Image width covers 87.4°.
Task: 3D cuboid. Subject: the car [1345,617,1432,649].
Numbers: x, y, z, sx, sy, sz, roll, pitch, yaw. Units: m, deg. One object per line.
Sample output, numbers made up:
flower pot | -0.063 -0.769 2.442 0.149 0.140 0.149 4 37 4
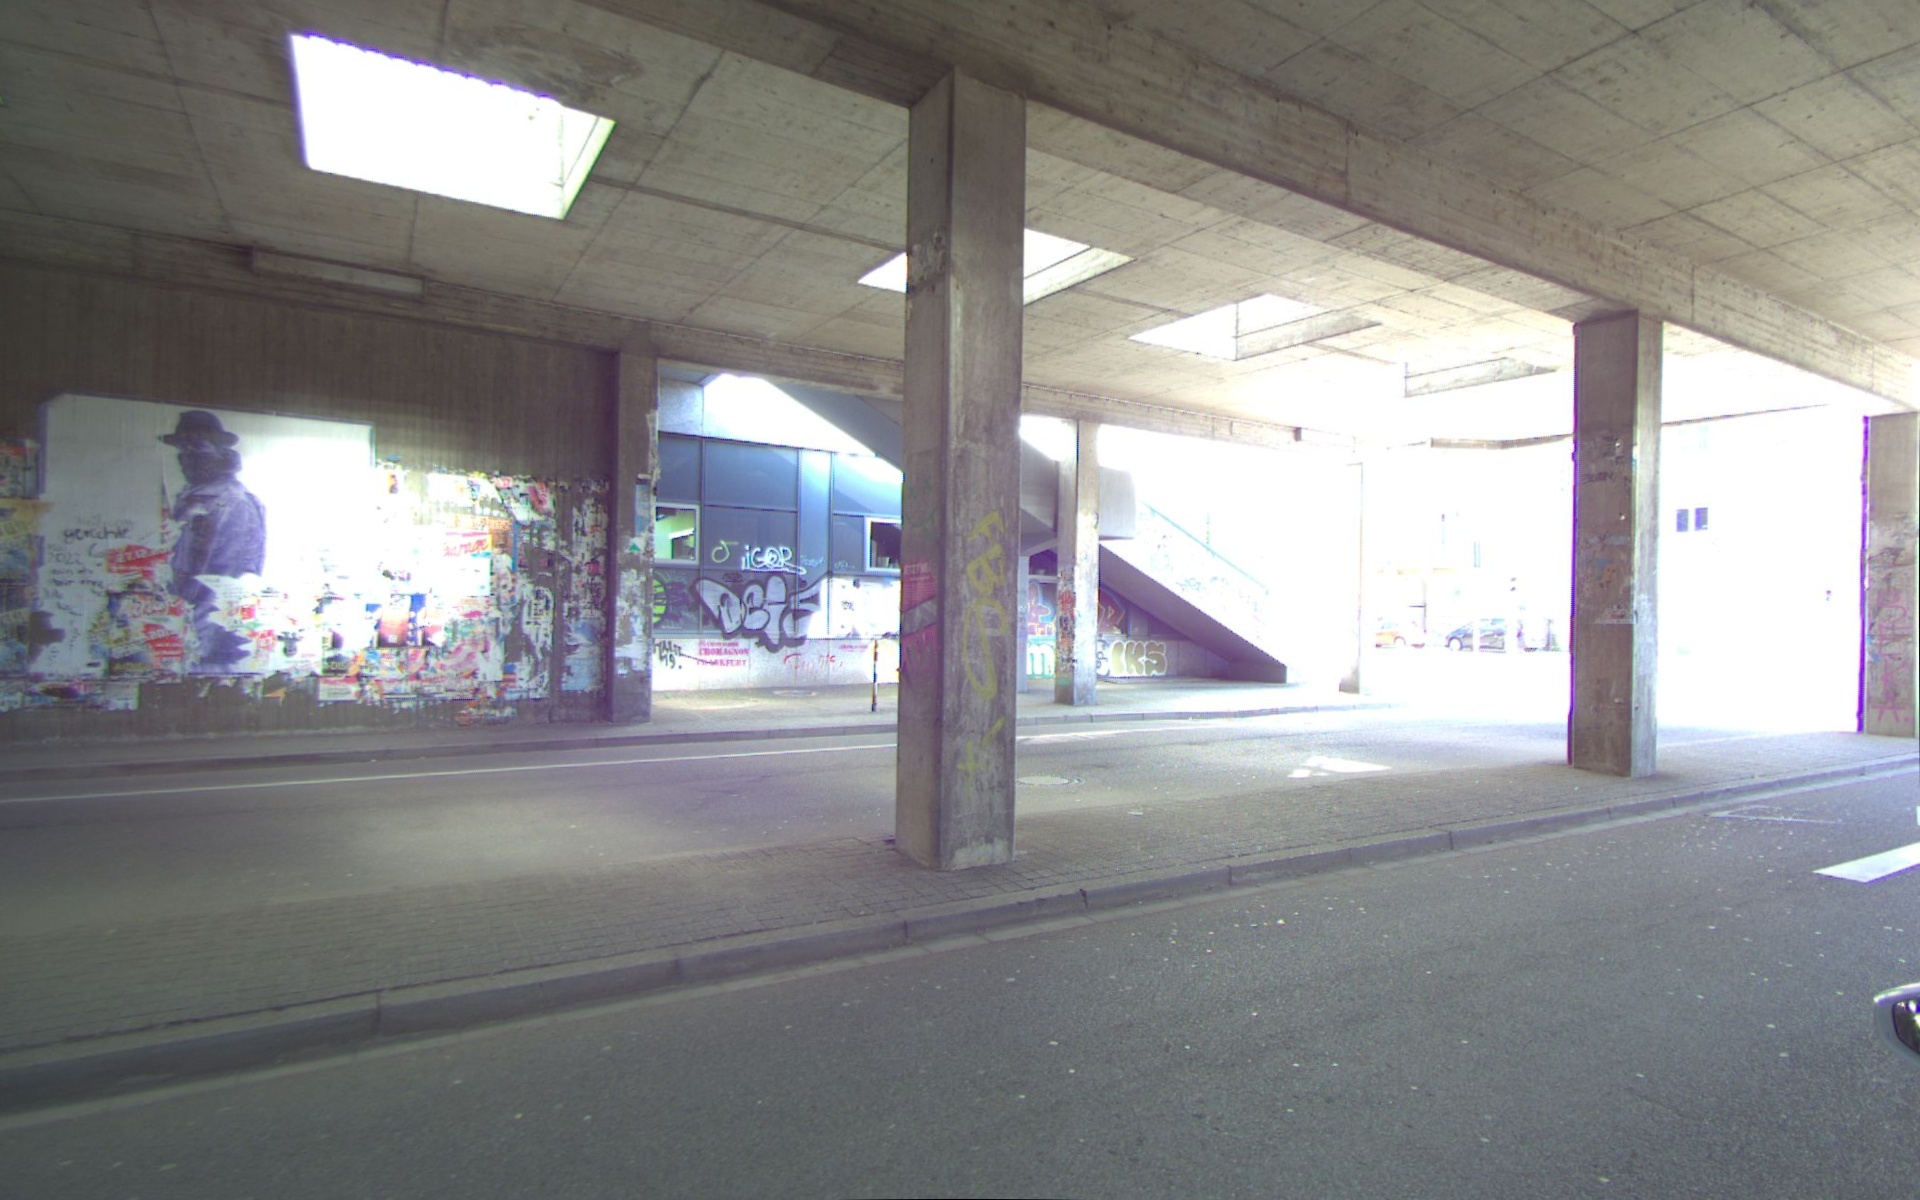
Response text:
car | 22.349 1.683 52.537 1.876 1.561 3.861 0 0 -29

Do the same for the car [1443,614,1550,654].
car | 25.361 1.552 47.608 1.939 1.747 4.141 0 0 -29
